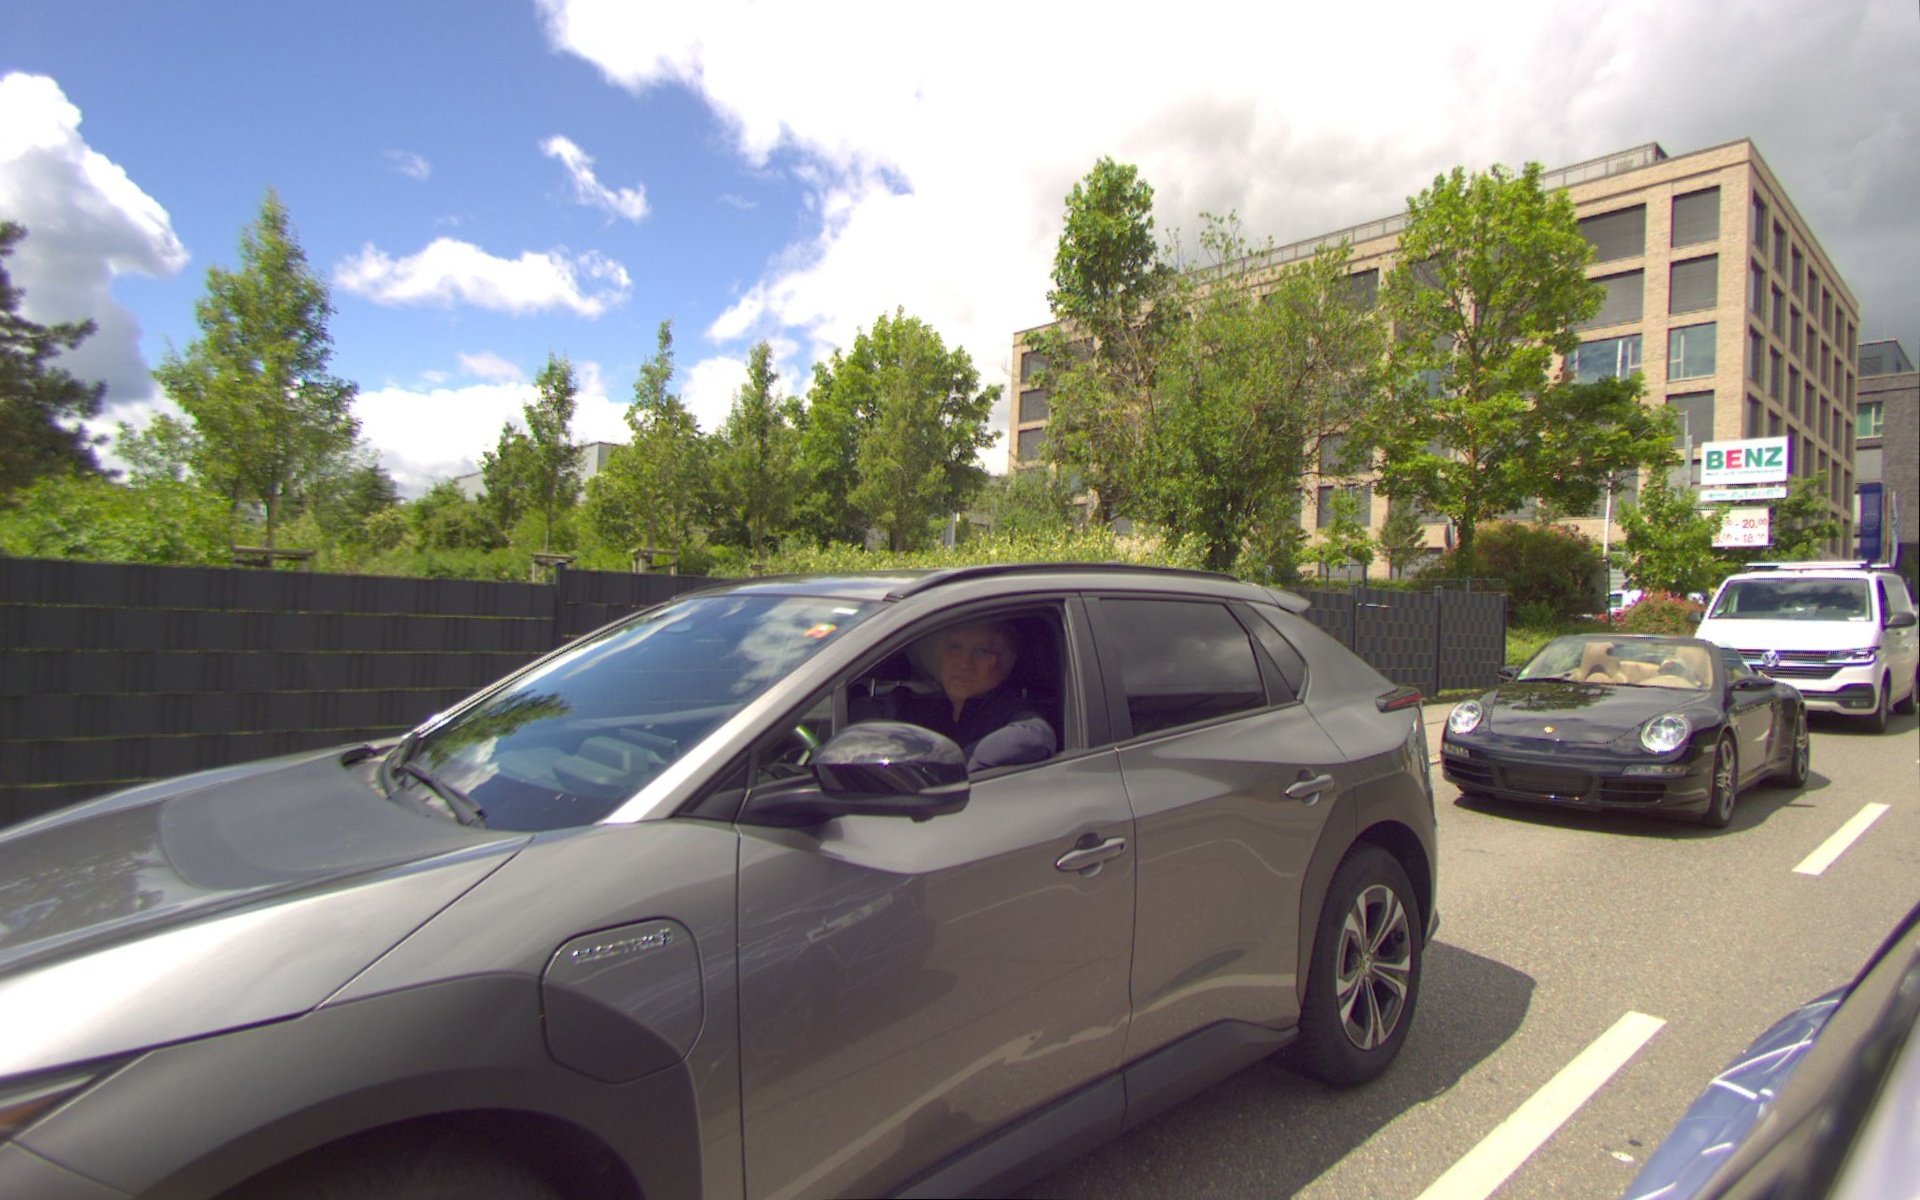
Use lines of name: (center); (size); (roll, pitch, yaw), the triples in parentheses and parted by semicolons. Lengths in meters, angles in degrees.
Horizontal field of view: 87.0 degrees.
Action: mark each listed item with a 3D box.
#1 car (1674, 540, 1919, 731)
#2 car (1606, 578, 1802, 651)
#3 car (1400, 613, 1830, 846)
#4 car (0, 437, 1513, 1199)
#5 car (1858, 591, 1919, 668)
car: (11.342, 0.373, 13.344); (4.677, 2.075, 2.087); (0, 0, -41)
car: (19.928, 0.329, 27.208); (1.793, 1.754, 3.991); (0, 2, -44)
car: (5.293, 0.790, 7.982); (3.967, 1.310, 1.823); (0, 0, -41)
car: (-0.332, 0.636, 2.938); (4.501, 1.649, 1.997); (0, 1, -42)
car: (20.246, 0.577, 21.065); (3.930, 1.481, 1.817); (0, 2, -41)
